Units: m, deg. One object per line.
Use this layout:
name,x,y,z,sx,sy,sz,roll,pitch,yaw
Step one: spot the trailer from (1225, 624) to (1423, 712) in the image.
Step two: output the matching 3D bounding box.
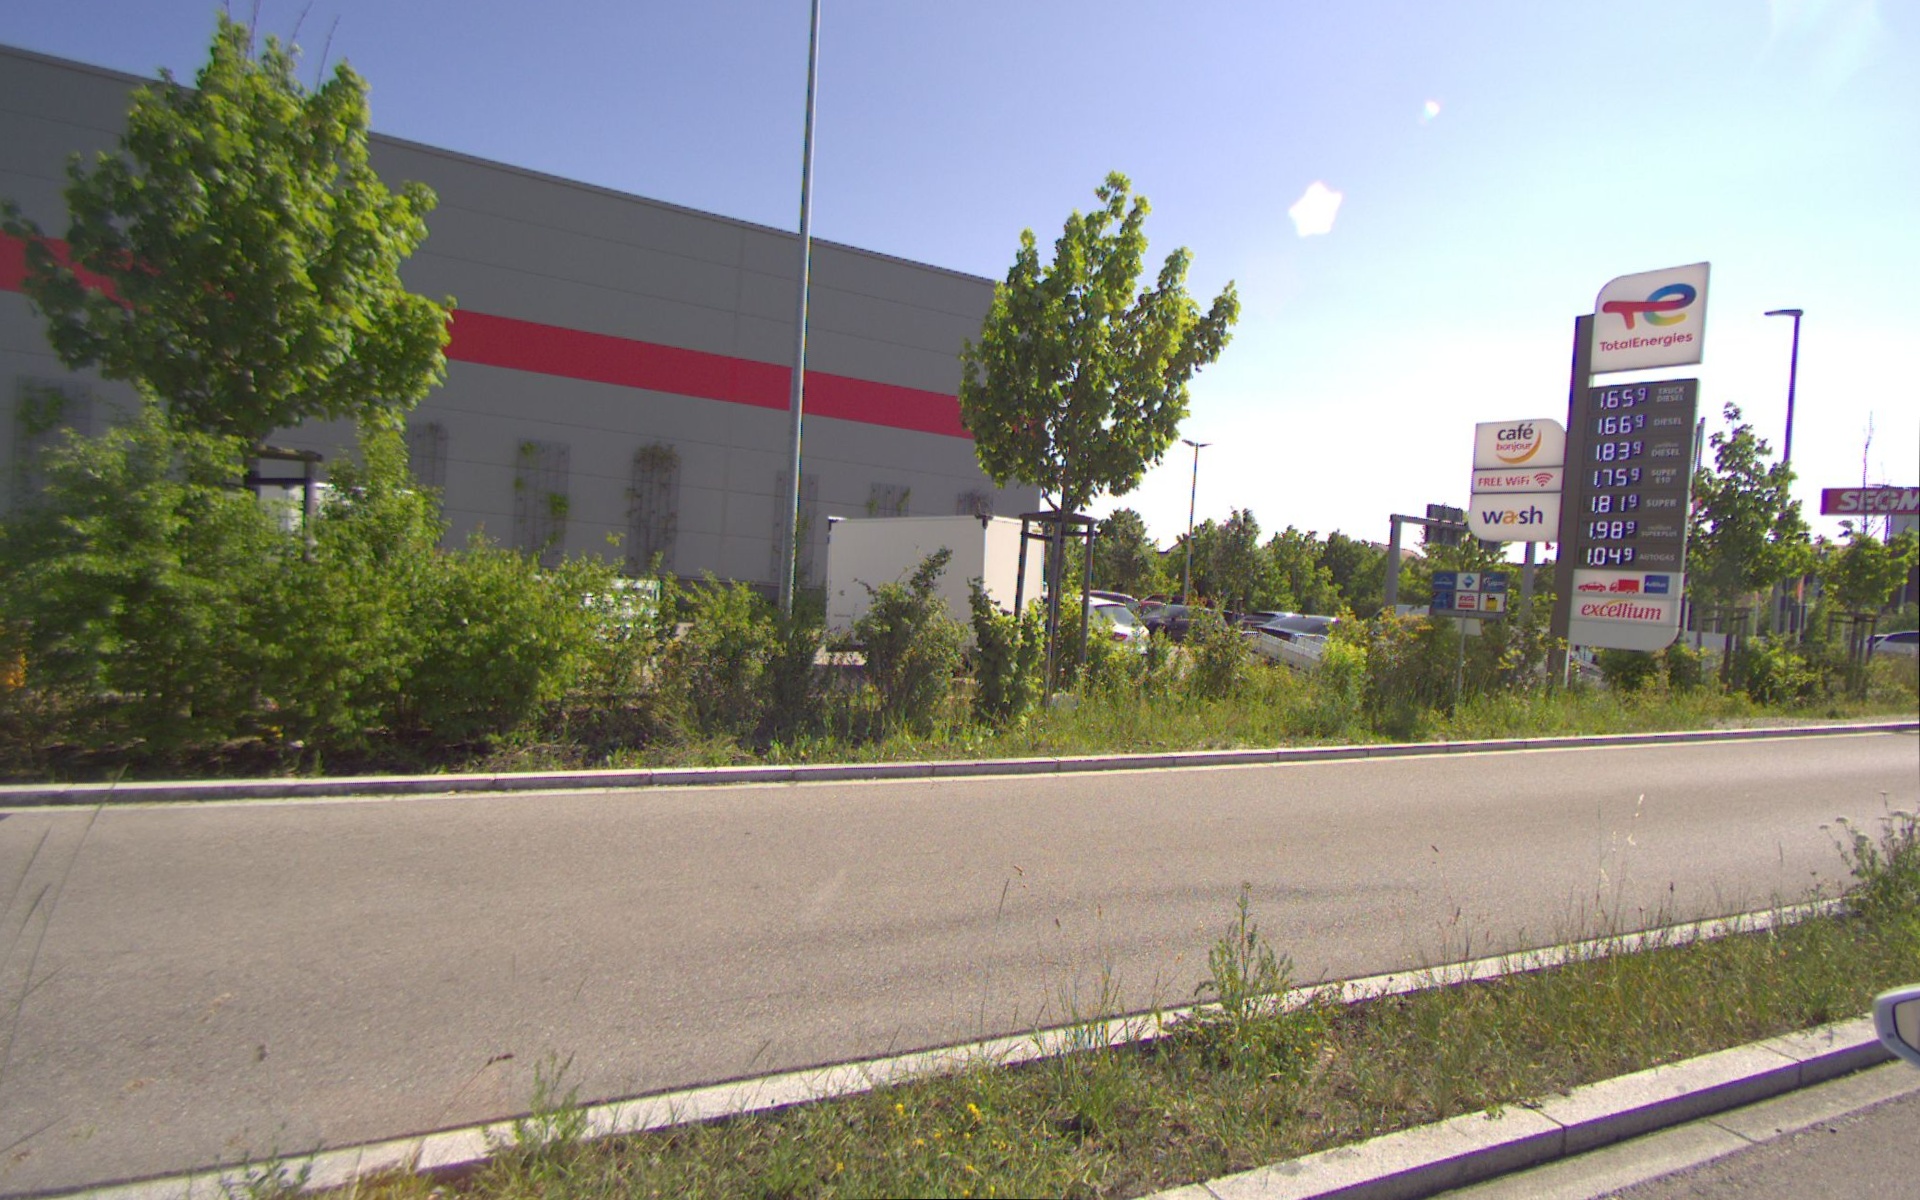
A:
trailer,5.923,1.046,16.408,2.731,1.100,1.316,5,2,37

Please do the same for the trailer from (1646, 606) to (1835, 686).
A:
trailer,20.042,1.119,26.002,3.633,1.795,1.803,2,1,33

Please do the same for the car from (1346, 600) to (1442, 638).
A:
car,30.741,1.310,71.412,2.015,2.264,6.225,2,2,-29

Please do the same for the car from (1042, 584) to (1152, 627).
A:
car,5.485,0.215,40.194,3.943,1.483,1.815,3,2,-23

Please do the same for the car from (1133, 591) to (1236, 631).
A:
car,10.184,0.483,45.850,4.365,1.483,1.826,4,2,8

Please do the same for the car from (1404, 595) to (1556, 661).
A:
car,14.110,0.764,27.252,3.694,1.573,1.733,3,2,-25

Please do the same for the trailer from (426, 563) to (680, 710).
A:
trailer,-5.393,0.373,13.150,3.545,1.530,1.592,5,3,40

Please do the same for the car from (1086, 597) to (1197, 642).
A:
car,6.963,0.759,38.484,3.958,1.483,1.808,2,2,-33

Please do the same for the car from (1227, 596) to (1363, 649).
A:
car,10.547,0.712,31.575,3.950,1.483,1.812,2,-1,-28

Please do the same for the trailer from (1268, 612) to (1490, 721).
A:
trailer,7.225,1.079,17.482,1.538,1.503,3.149,2,2,-43

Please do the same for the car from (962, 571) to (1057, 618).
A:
car,2.468,-0.268,50.060,4.293,2.040,1.890,2,2,-27

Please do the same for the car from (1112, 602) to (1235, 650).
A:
car,7.689,0.933,36.168,3.943,1.483,1.815,3,2,-23

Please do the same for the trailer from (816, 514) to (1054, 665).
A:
trailer,-0.414,-0.217,15.473,3.187,2.040,1.742,5,2,36

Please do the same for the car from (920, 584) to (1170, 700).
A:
car,1.386,0.636,17.207,3.937,1.557,1.712,5,2,38

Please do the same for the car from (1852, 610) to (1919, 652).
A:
car,38.839,1.331,40.383,1.779,1.550,4.234,2,1,-42

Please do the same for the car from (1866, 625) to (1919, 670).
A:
car,31.792,1.636,32.151,1.542,1.370,4.340,3,2,-1

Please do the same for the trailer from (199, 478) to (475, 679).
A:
trailer,-7.355,-0.281,11.825,2.695,2.040,1.991,5,2,40

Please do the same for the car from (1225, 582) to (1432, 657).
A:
car,8.577,0.465,23.379,4.433,1.503,1.793,2,2,-23

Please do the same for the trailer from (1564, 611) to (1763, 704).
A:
trailer,16.530,1.276,23.809,3.633,1.795,1.803,4,2,33

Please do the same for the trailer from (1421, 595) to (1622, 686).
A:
trailer,12.366,0.829,22.200,3.634,1.471,1.703,8,4,33
